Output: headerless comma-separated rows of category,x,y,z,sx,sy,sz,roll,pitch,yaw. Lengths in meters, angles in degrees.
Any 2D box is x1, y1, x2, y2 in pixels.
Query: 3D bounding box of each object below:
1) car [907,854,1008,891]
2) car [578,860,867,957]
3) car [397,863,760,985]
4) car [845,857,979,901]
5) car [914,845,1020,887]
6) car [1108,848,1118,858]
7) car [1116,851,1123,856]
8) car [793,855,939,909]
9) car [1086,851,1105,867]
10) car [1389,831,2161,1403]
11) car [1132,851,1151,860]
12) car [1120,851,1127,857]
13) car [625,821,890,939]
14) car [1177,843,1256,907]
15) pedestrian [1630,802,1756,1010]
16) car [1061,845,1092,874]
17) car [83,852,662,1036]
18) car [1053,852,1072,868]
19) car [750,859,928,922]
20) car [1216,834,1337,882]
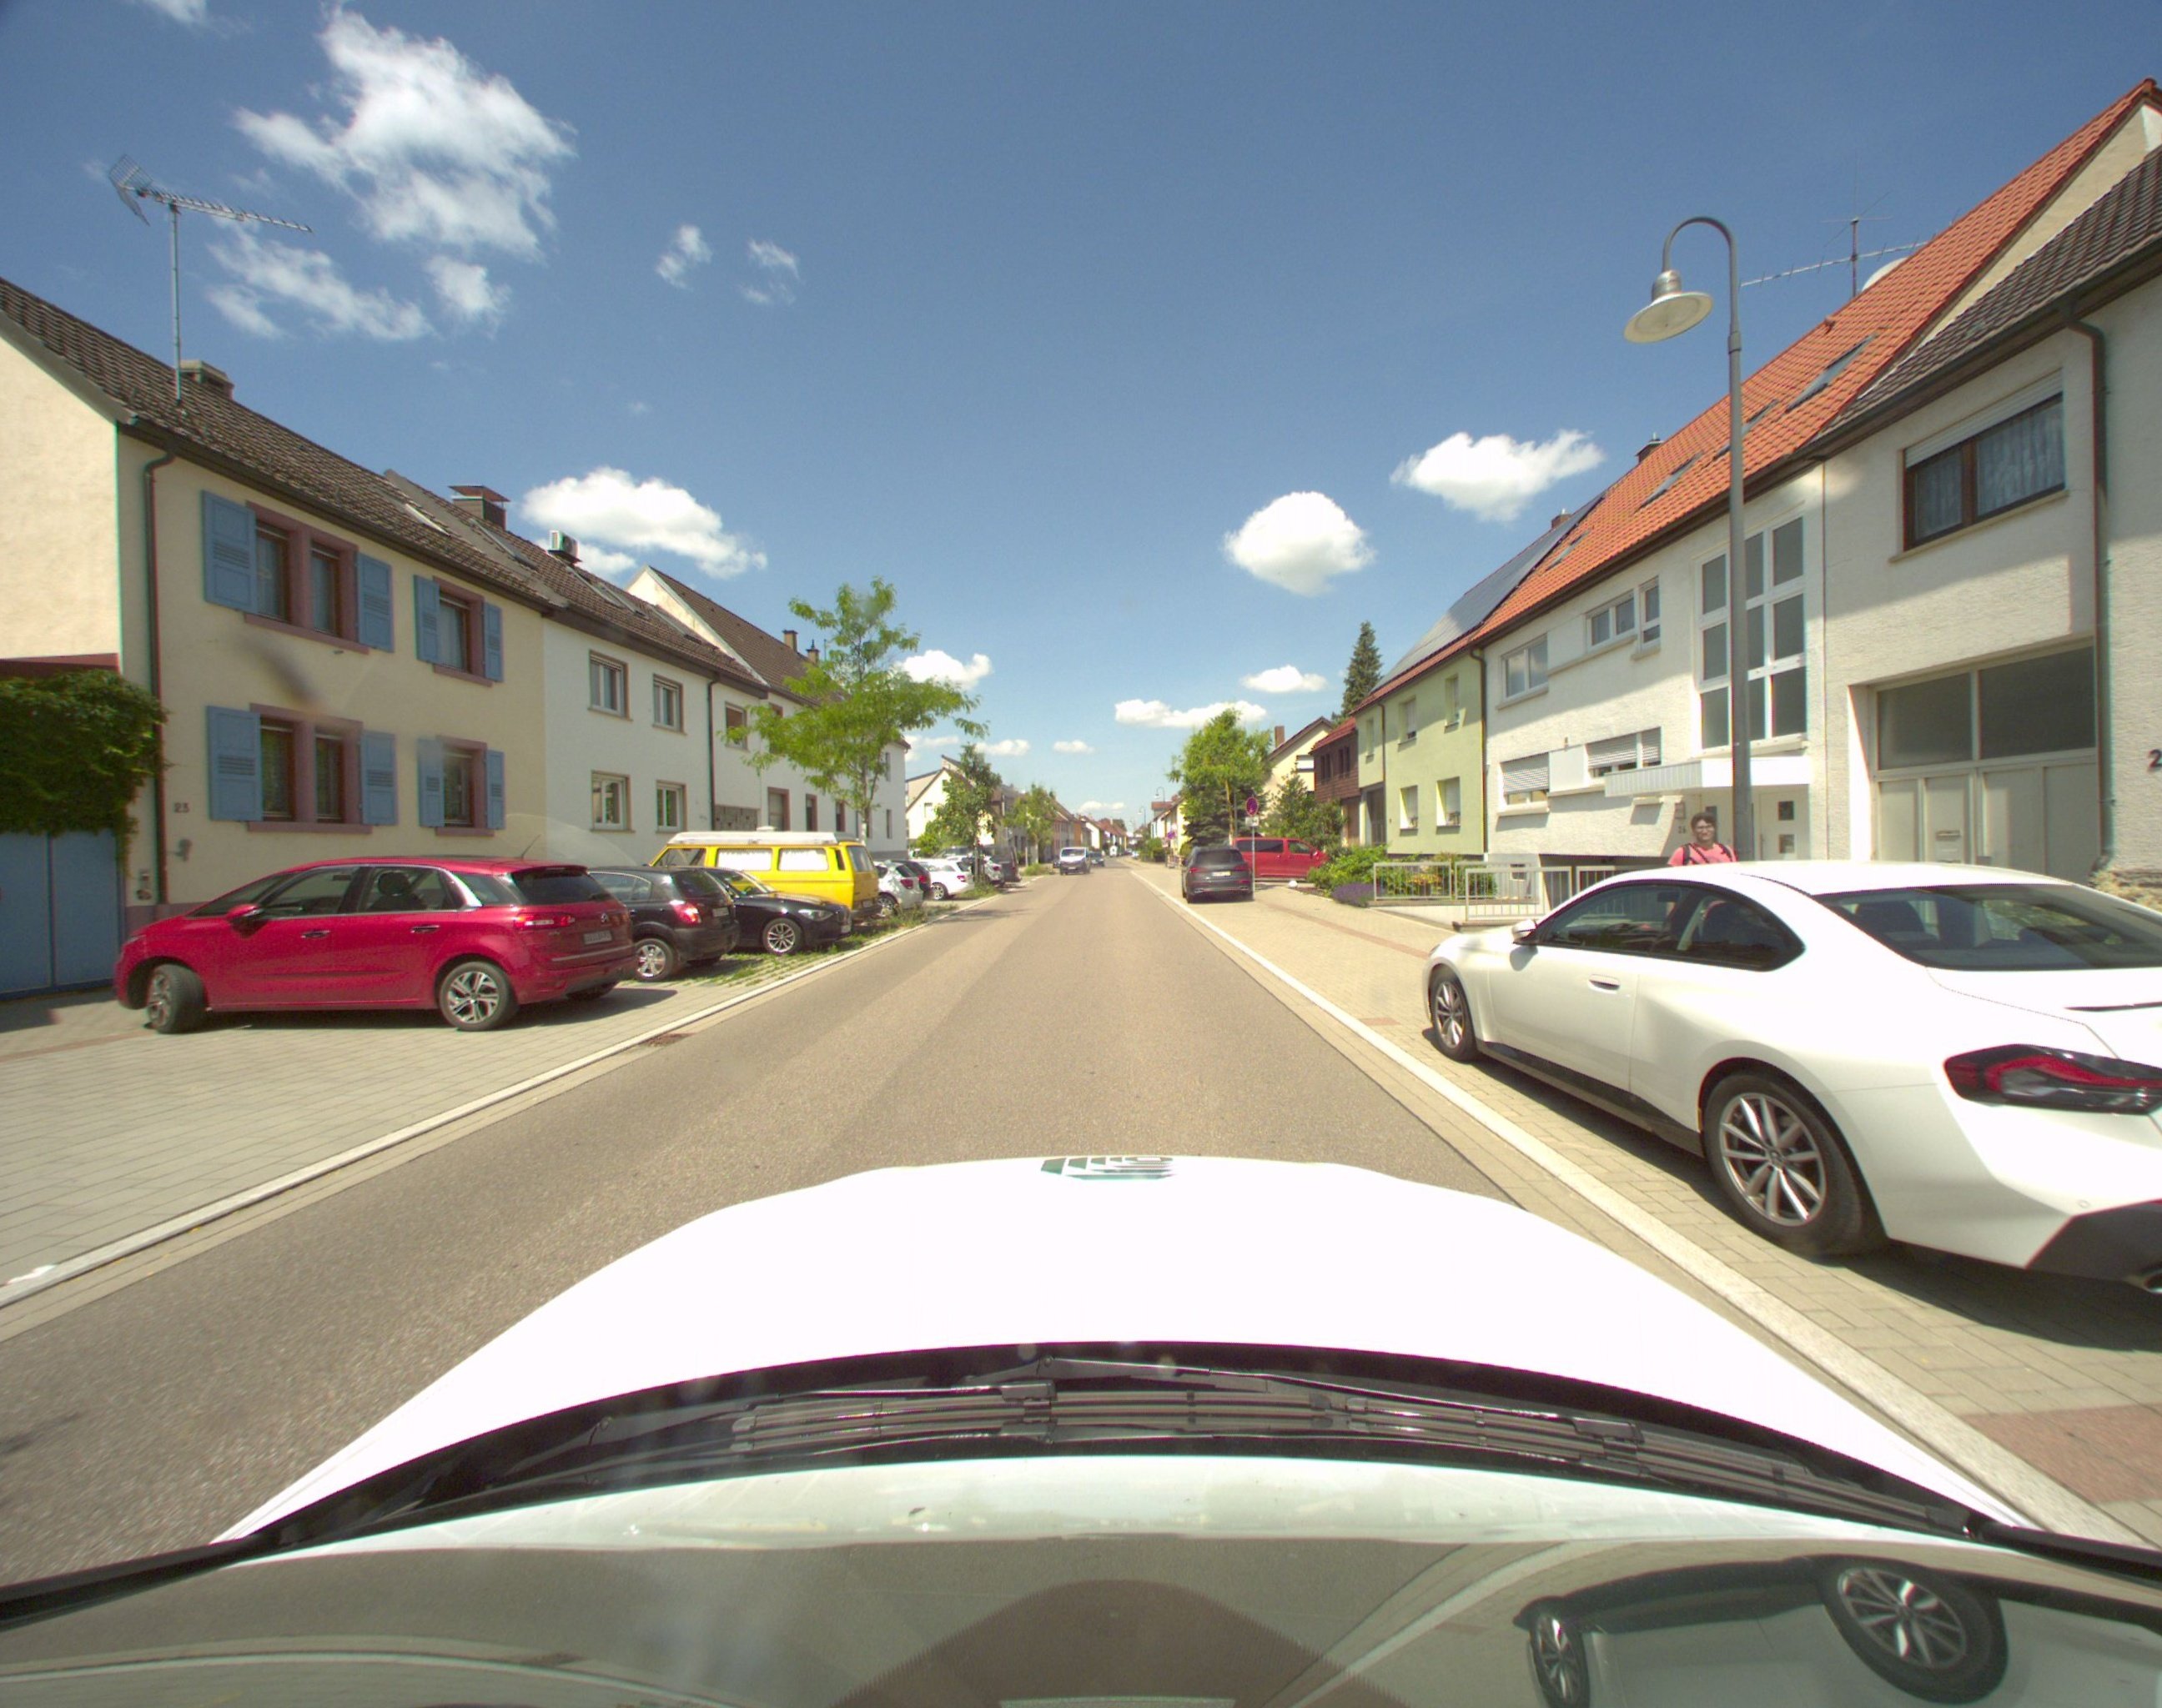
car,-5.323,0.778,35.616,4.172,1.568,1.772,0,-1,-2
car,-5.827,0.864,13.563,3.995,1.459,1.756,-1,0,1
car,-6.602,0.881,11.037,3.780,1.459,1.754,-1,0,-1
car,-5.900,0.873,28.744,4.277,1.468,1.775,-1,-1,3
car,-5.290,0.577,38.263,4.683,1.923,1.938,0,-1,1
car,7.926,-0.221,201.929,2.035,2.312,3.777,0,-1,6
car,10.553,-0.154,224.016,1.683,1.504,3.777,0,-1,6
car,-6.164,0.799,23.709,3.875,1.468,1.655,-1,-1,-7
car,1.462,0.493,82.135,1.756,1.523,4.049,-3,0,1
car,3.430,0.664,4.383,1.826,1.465,4.519,-1,0,0
car,10.975,0.265,147.879,3.510,1.464,1.629,0,-1,2
car,12.139,-0.094,231.455,1.683,1.660,3.777,0,-1,6
car,-6.314,0.490,16.264,4.491,2.177,1.926,-1,0,1
car,3.987,0.543,24.601,1.856,1.635,4.451,-4,0,4
pedestrian,5.440,0.448,7.275,0.555,1.749,0.673,-2,-1,2
car,-0.279,0.393,58.132,2.015,1.950,4.899,-2,-1,1
car,-6.857,0.811,8.252,4.238,1.611,1.843,-1,0,1
car,-1.842,0.628,83.387,1.811,1.433,4.138,2,1,-1
car,-6.039,0.882,20.723,4.067,1.468,1.749,-1,0,-7
car,8.141,0.177,34.240,4.603,1.893,2.020,0,-1,0
